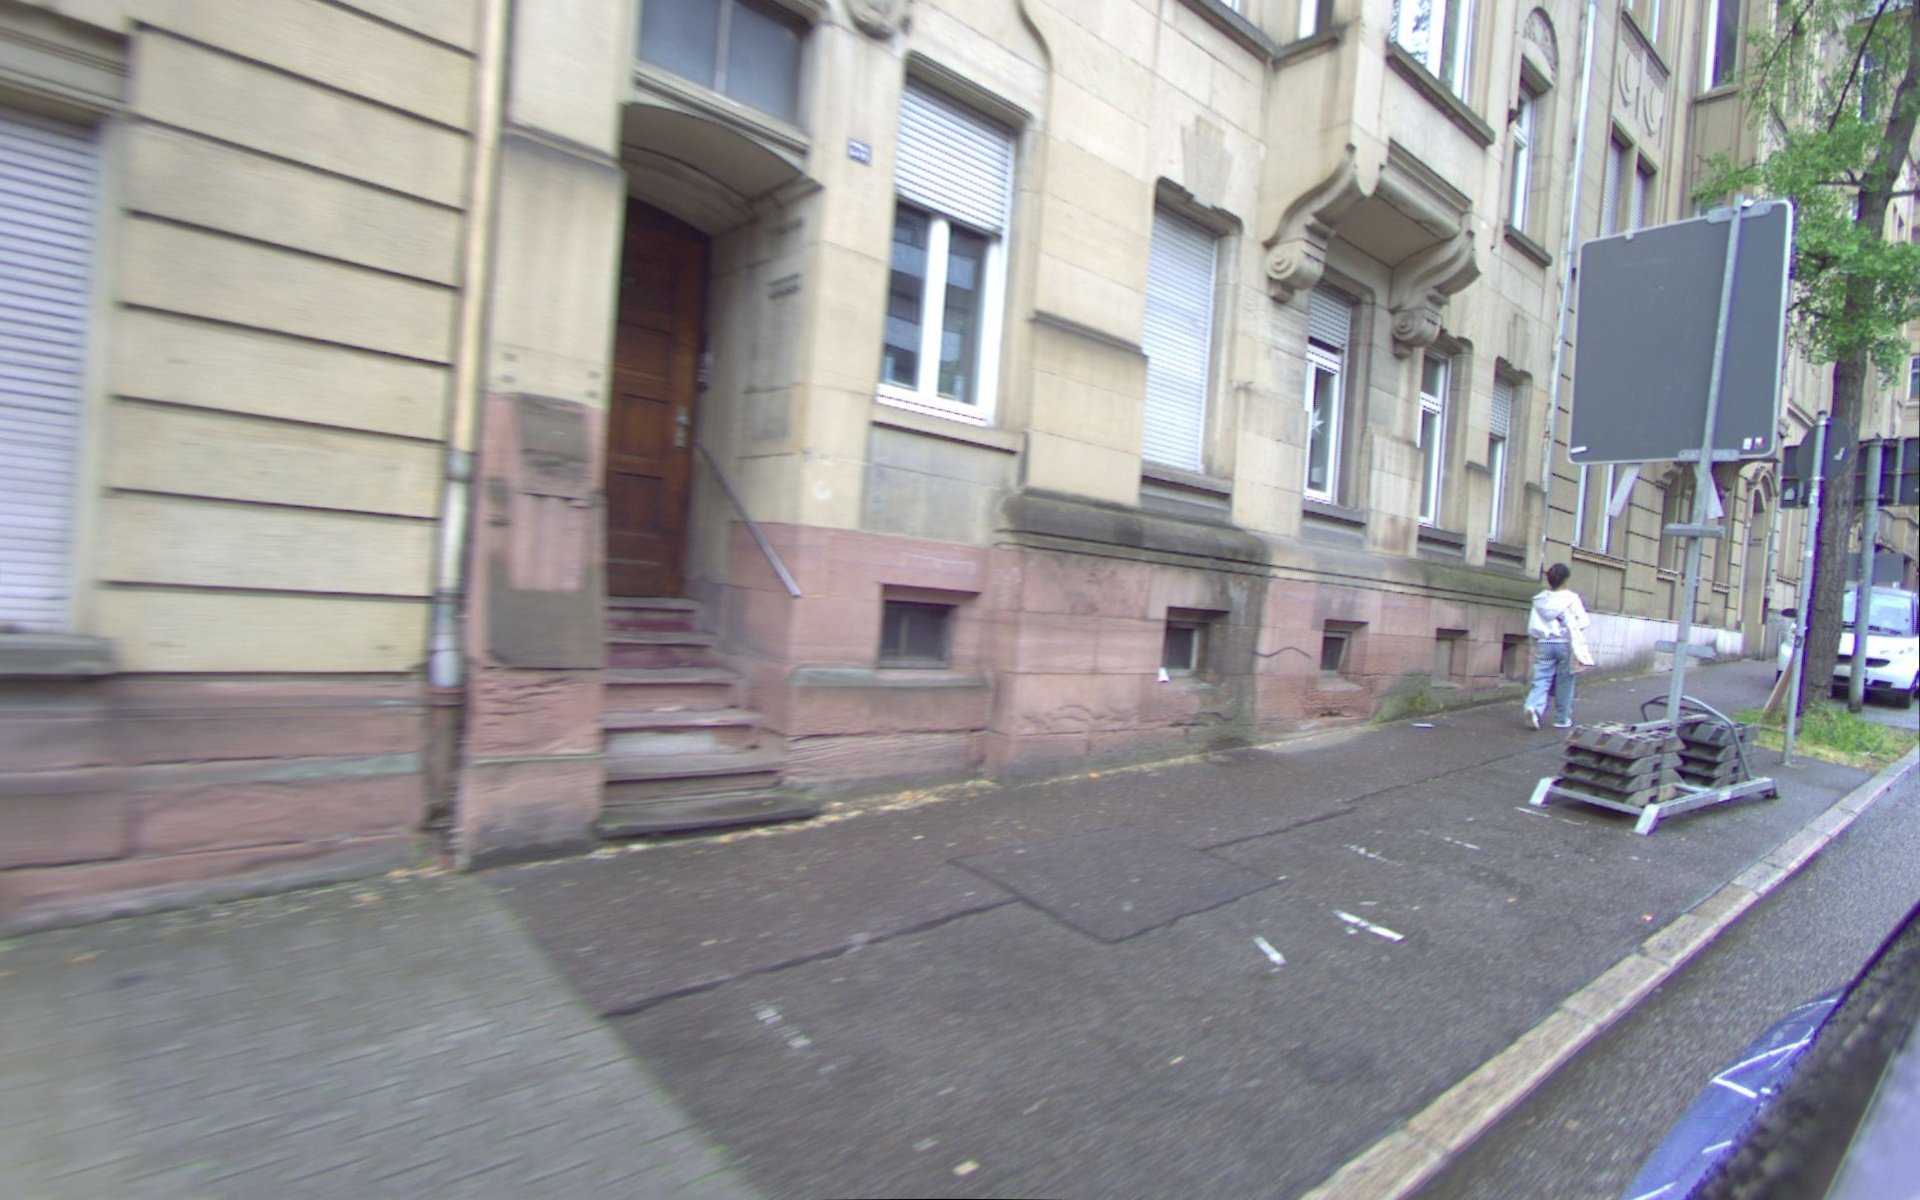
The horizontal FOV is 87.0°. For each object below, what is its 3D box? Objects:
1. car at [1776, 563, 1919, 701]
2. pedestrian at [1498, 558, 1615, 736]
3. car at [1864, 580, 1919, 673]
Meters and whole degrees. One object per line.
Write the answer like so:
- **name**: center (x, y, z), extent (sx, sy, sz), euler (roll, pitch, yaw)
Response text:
- **car**: center (13.215, 0.401, 14.597), extent (3.432, 1.636, 1.526), euler (0, 6, -41)
- **pedestrian**: center (5.494, 0.397, 9.333), extent (0.679, 1.513, 0.645), euler (-3, 8, -41)
- **car**: center (17.644, 0.506, 18.145), extent (3.697, 1.503, 1.547), euler (0, 6, -41)
